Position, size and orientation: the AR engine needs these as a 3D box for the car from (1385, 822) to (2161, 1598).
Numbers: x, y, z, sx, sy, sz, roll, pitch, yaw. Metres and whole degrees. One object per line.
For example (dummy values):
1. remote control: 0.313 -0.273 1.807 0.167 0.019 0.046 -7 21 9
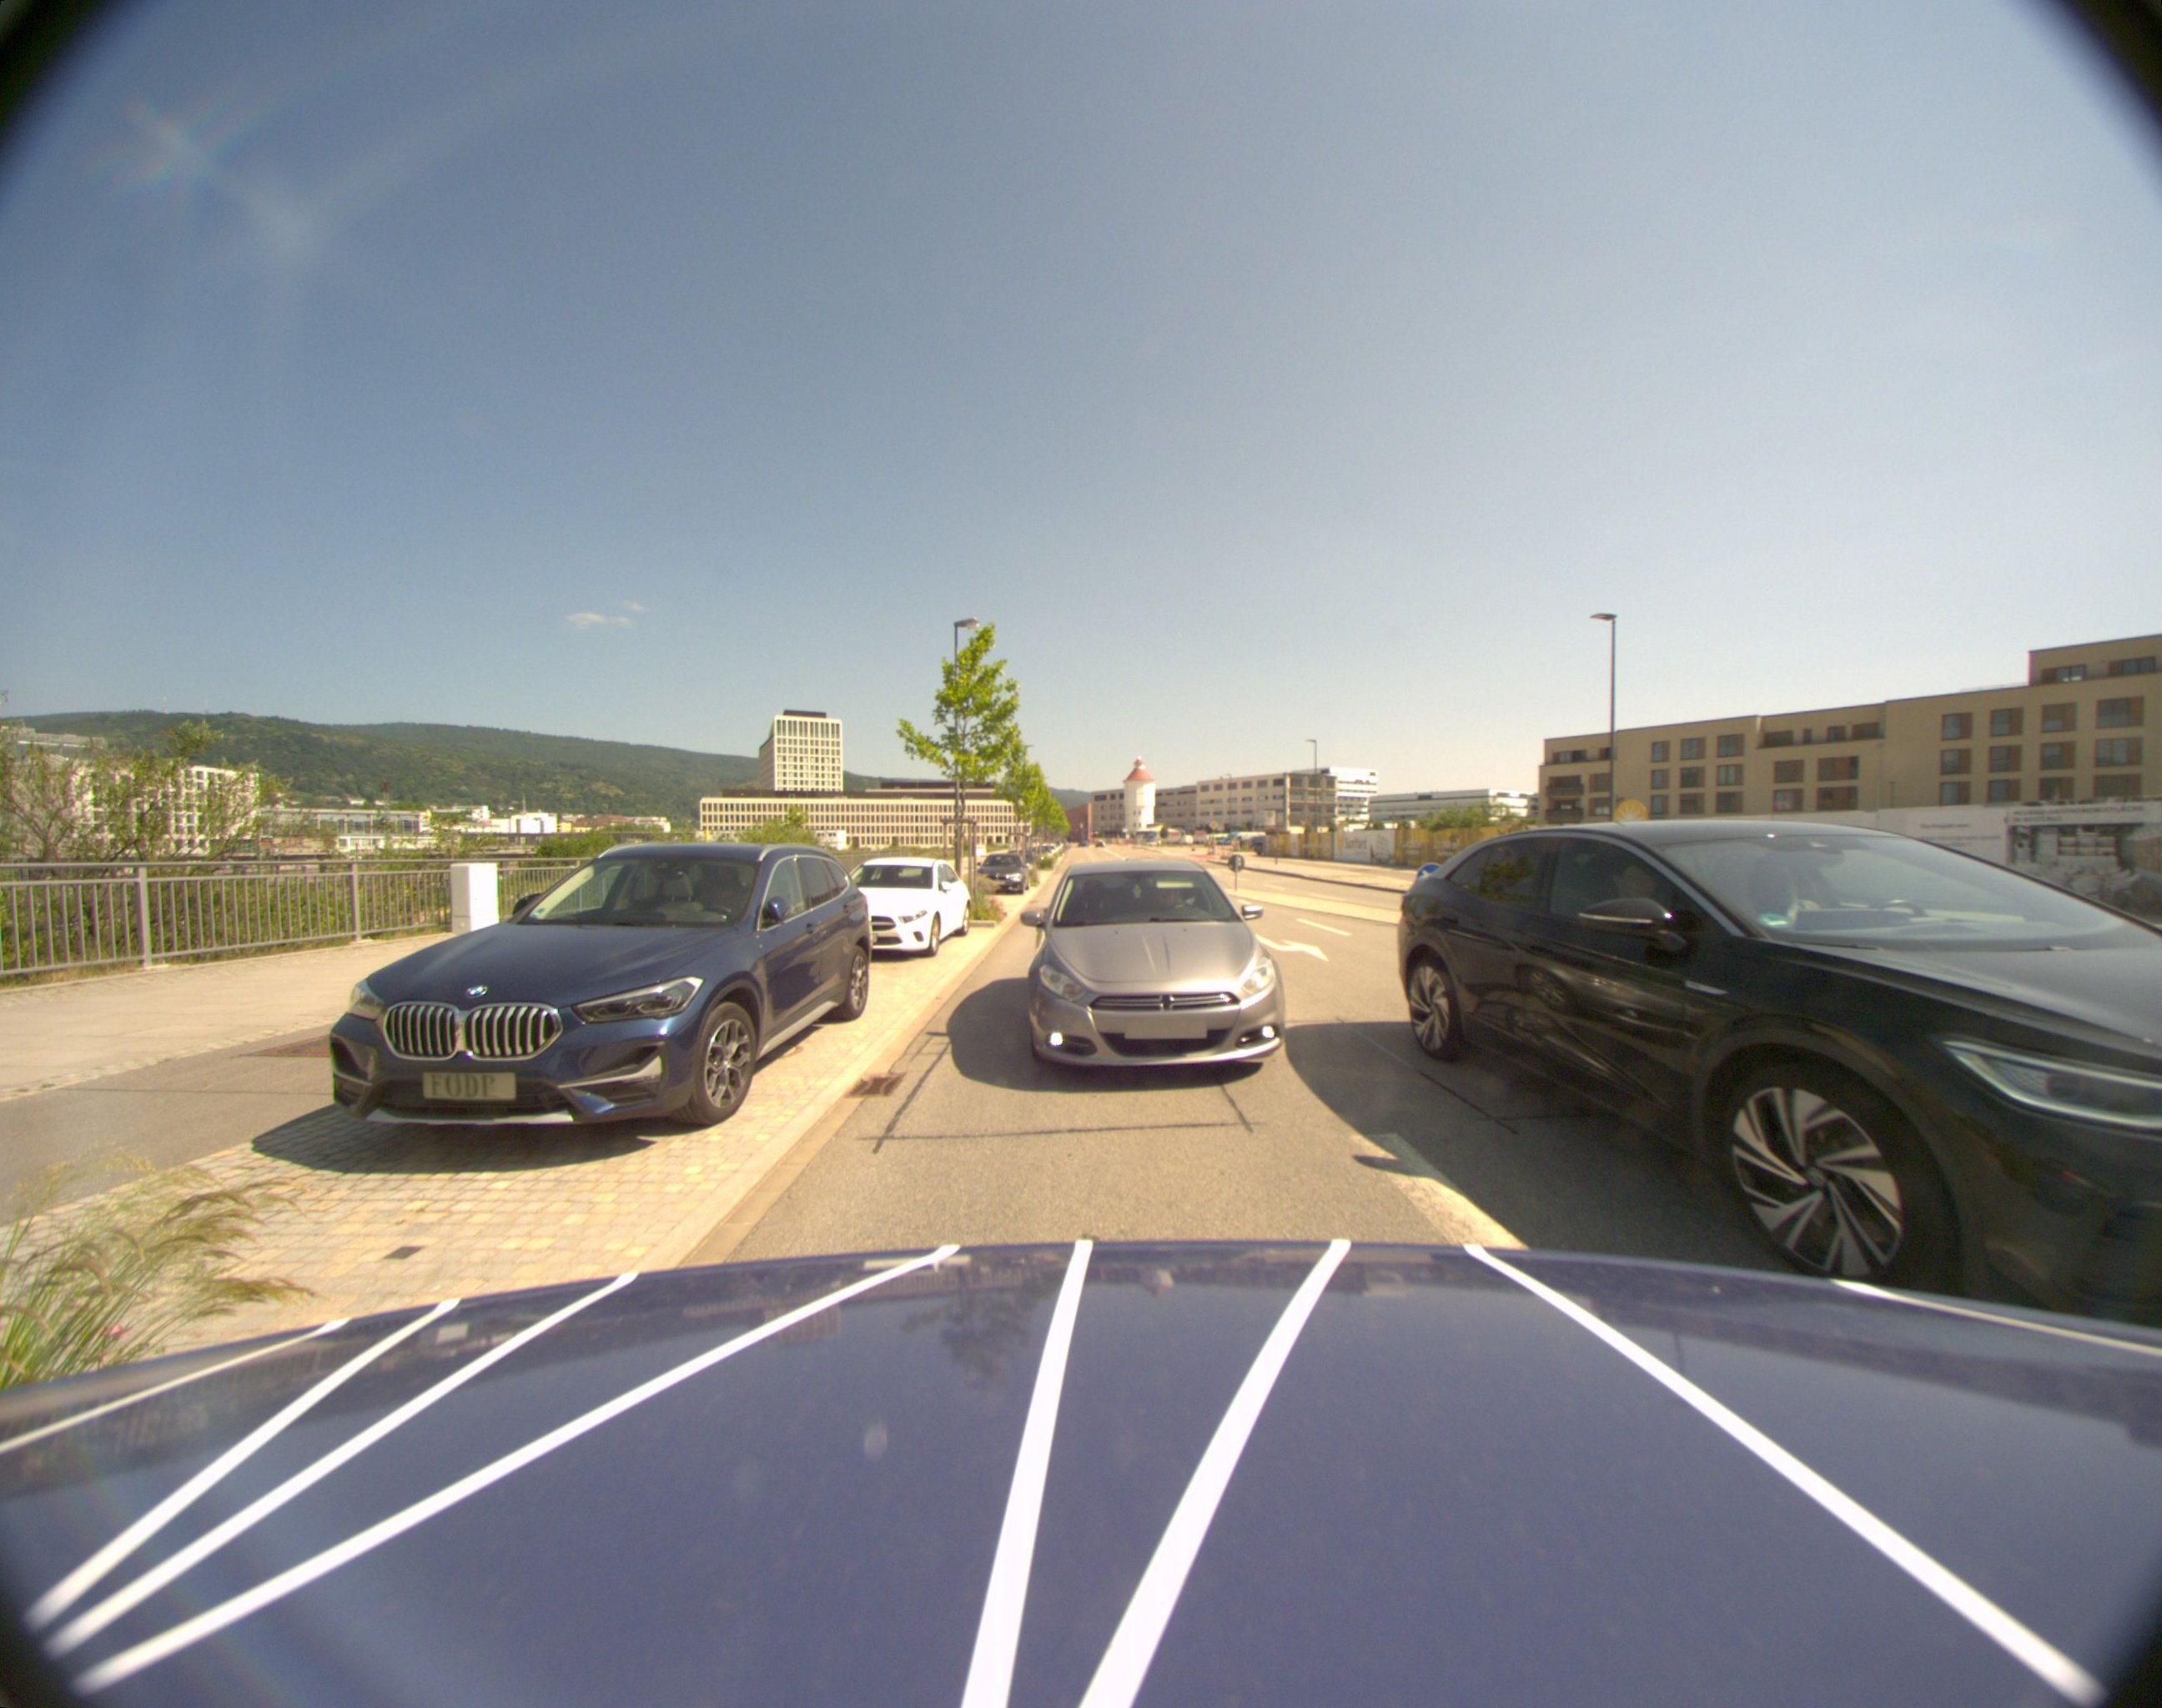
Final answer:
1. car: 3.212 0.722 3.588 1.806 1.632 4.365 -2 1 1

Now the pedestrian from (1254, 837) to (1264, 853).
1. pedestrian: 18.209 -0.946 77.858 0.705 1.577 0.617 -3 1 -36

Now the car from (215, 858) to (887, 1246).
1. car: -2.881 0.893 5.483 1.769 1.598 4.238 -2 1 1

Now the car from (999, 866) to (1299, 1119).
1. car: 0.443 0.882 6.708 1.784 1.372 4.135 -2 1 1

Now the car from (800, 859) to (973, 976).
1. car: -2.923 0.881 12.297 1.664 1.447 3.999 -2 1 1

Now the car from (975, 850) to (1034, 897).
1. car: -2.745 0.664 28.026 1.664 1.529 3.999 -2 1 1
